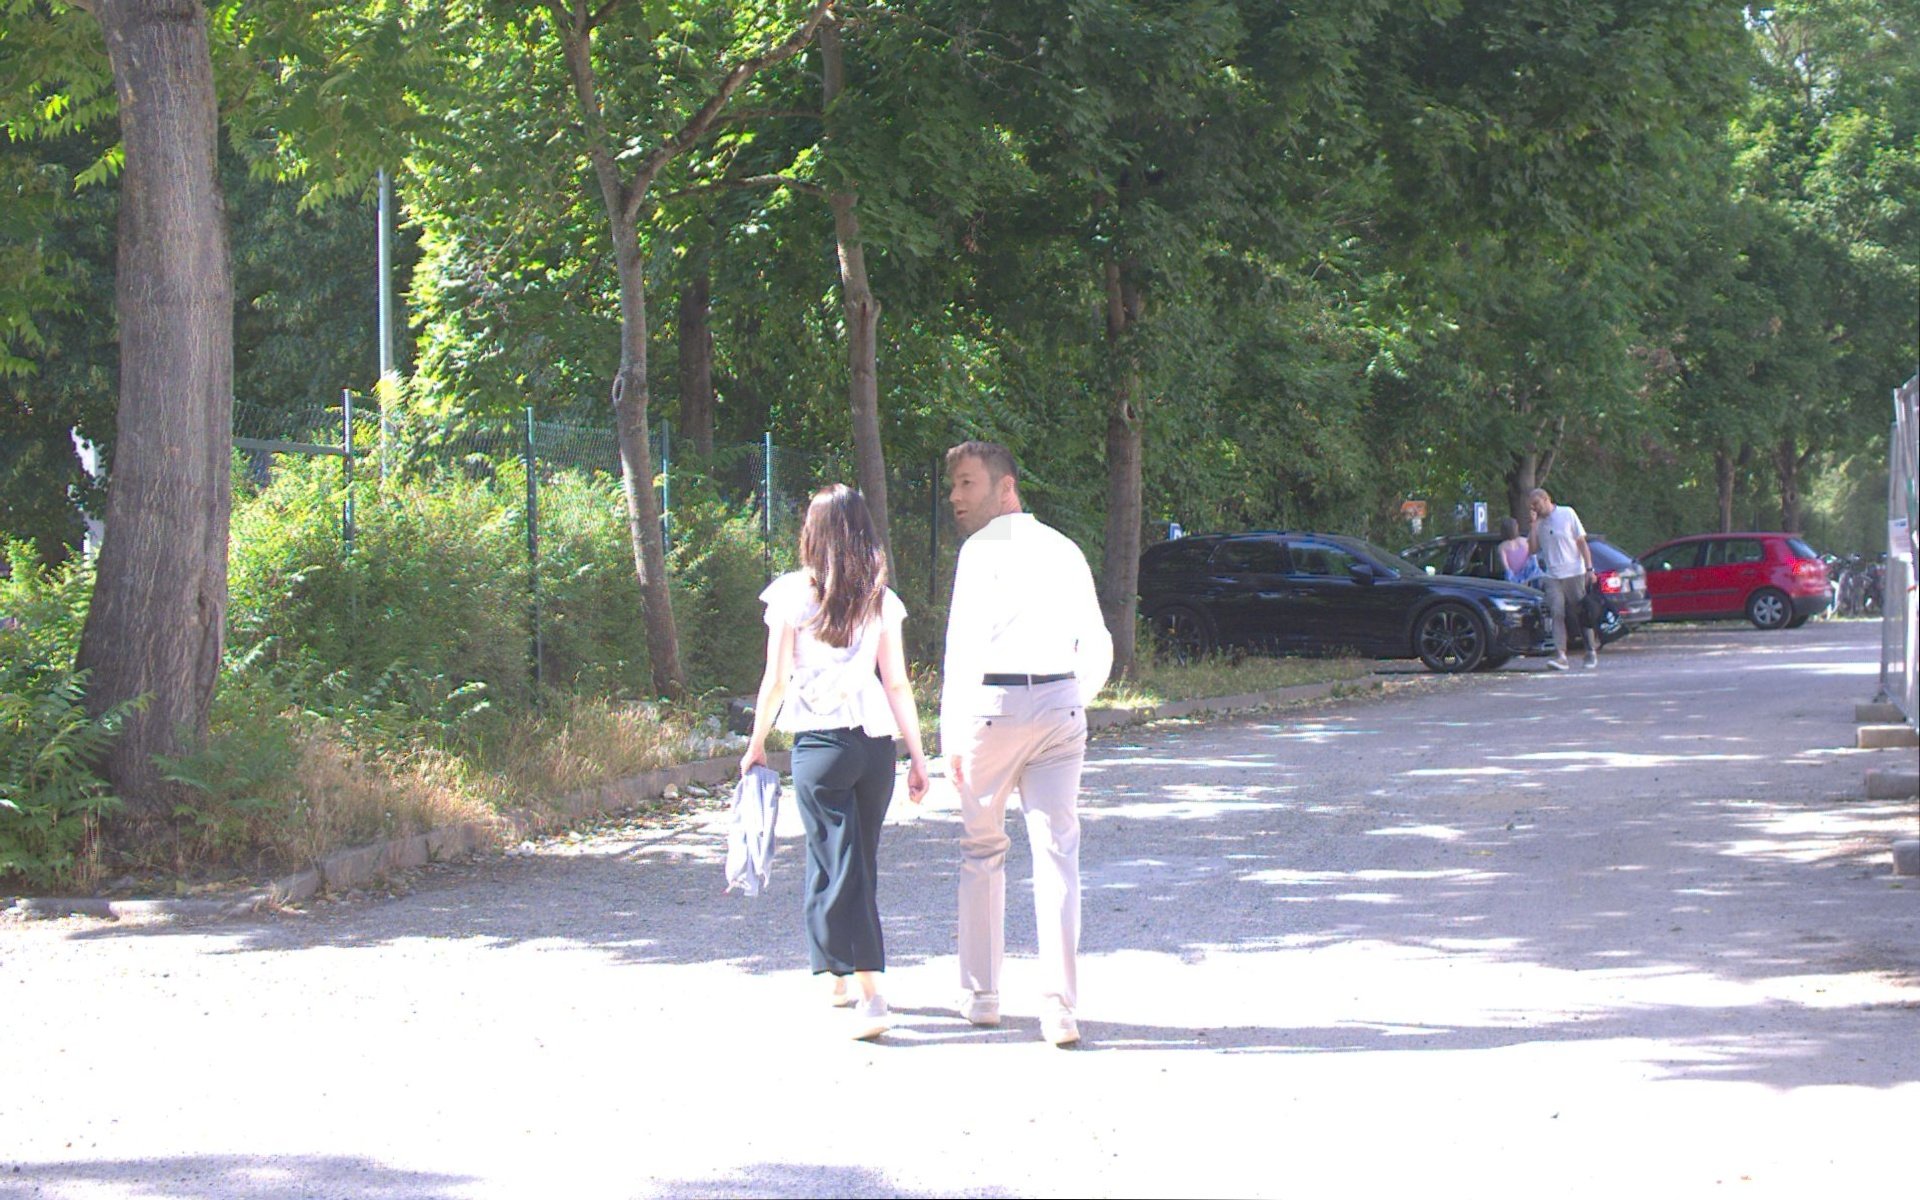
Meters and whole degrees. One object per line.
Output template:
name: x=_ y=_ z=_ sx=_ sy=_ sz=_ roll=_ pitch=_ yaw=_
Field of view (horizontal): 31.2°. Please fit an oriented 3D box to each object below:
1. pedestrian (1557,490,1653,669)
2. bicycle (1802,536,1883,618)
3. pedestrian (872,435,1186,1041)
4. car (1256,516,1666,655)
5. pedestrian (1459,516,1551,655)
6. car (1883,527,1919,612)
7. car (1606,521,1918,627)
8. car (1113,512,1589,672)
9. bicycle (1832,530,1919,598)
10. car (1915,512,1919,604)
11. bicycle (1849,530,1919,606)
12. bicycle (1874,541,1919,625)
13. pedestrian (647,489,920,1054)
pedestrian: x=6.552 y=-0.212 z=34.895 sx=0.818 sy=1.775 sz=1.016 roll=-1 pitch=1 yaw=17
bicycle: x=14.415 y=-0.388 z=56.087 sx=0.715 sy=1.280 sz=2.787 roll=-1 pitch=1 yaw=26
pedestrian: x=0.192 y=0.381 z=10.304 sx=0.755 sy=1.722 sz=0.854 roll=-1 pitch=2 yaw=-10
car: x=6.103 y=-0.177 z=41.770 sx=4.660 sy=1.579 sz=1.998 roll=0 pitch=2 yaw=18
pedestrian: x=6.366 y=-0.172 z=40.150 sx=0.925 sy=1.589 sz=0.785 roll=-1 pitch=2 yaw=18
car: x=21.662 y=-0.664 z=72.364 sx=3.993 sy=1.766 sz=1.765 roll=0 pitch=2 yaw=29
car: x=12.157 y=-0.398 z=52.099 sx=4.292 sy=1.519 sz=1.890 roll=-1 pitch=1 yaw=25
car: x=4.138 y=-0.092 z=36.195 sx=4.660 sy=1.579 sz=1.998 roll=0 pitch=2 yaw=18
bicycle: x=18.143 y=-0.694 z=65.939 sx=2.678 sy=1.280 sz=0.818 roll=-1 pitch=1 yaw=20
car: x=23.080 y=-0.958 z=74.998 sx=3.993 sy=2.007 sz=1.765 roll=0 pitch=1 yaw=29
bicycle: x=16.329 y=-0.573 z=60.443 sx=0.817 sy=1.280 sz=2.680 roll=-1 pitch=1 yaw=26
bicycle: x=15.154 y=-0.287 z=54.585 sx=0.715 sy=1.280 sz=2.680 roll=-1 pitch=1 yaw=26
pedestrian: x=-0.549 y=0.487 z=10.435 sx=0.735 sy=1.634 sz=0.781 roll=-1 pitch=2 yaw=-8
